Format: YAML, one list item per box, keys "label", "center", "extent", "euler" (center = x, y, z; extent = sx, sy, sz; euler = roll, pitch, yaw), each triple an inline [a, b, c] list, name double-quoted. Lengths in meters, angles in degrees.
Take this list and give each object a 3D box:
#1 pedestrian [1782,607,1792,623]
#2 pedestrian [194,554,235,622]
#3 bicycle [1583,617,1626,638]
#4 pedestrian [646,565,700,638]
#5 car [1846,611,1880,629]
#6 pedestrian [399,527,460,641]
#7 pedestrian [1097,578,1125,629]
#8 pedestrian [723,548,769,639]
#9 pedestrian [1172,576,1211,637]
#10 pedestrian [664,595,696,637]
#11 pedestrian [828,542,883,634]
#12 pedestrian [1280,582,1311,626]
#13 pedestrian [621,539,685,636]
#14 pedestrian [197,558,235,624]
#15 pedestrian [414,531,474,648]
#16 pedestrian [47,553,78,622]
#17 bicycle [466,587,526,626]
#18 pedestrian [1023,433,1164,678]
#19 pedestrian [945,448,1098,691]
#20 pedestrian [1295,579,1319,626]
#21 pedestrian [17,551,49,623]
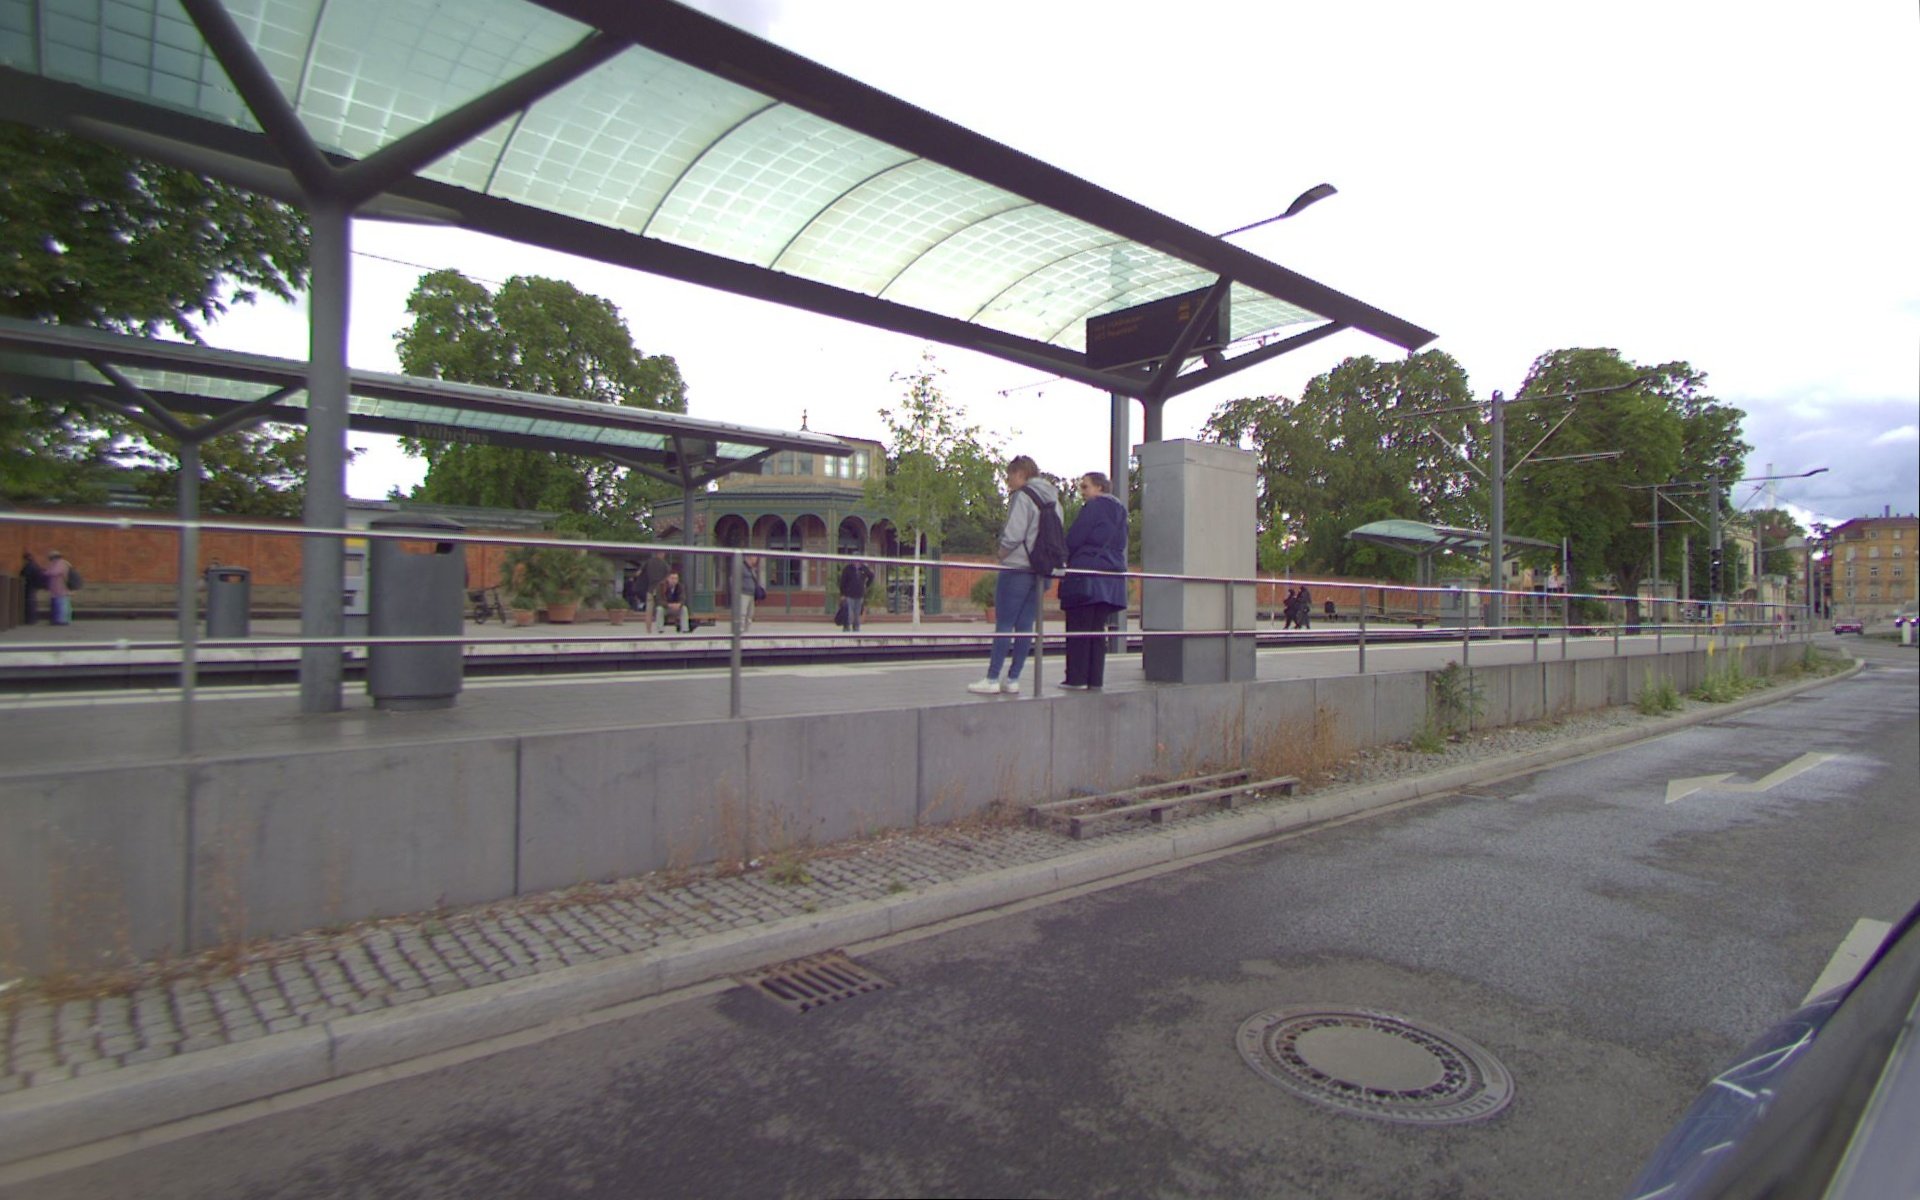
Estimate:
- label: "pedestrian"
  center: [92.206, 1.700, 112.816]
  extent: [0.920, 1.790, 0.671]
  euler: [1, -1, -42]
- label: "pedestrian"
  center: [-18.042, -0.285, 24.494]
  extent: [0.652, 1.604, 0.614]
  euler: [-3, -3, 35]
- label: "bicycle"
  center: [36.973, 1.558, 58.085]
  extent: [0.727, 1.172, 1.997]
  euler: [1, -1, -36]
- label: "pedestrian"
  center: [-4.888, 0.038, 17.234]
  extent: [0.663, 1.206, 0.658]
  euler: [1, -3, -40]
- label: "car"
  center: [75.539, 1.689, 84.665]
  extent: [4.049, 1.461, 1.678]
  euler: [1, -3, -42]
- label: "pedestrian"
  center: [-8.164, -0.222, 15.579]
  extent: [0.665, 1.699, 0.674]
  euler: [1, -3, -44]
- label: "pedestrian"
  center: [5.607, 0.148, 37.589]
  extent: [0.547, 1.862, 0.937]
  euler: [-3, -3, 42]
- label: "pedestrian"
  center: [-3.968, -0.116, 18.756]
  extent: [0.663, 1.641, 0.525]
  euler: [1, -3, -40]
- label: "pedestrian"
  center: [6.541, 0.190, 28.602]
  extent: [0.851, 1.709, 0.633]
  euler: [1, -3, -41]
- label: "pedestrian"
  center: [-5.124, 0.293, 18.534]
  extent: [0.416, 0.750, 0.563]
  euler: [0, -3, -32]
- label: "pedestrian"
  center: [-2.170, -0.231, 21.012]
  extent: [0.933, 1.862, 0.634]
  euler: [1, -3, -40]
- label: "pedestrian"
  center: [12.627, 0.145, 38.128]
  extent: [0.757, 1.621, 0.742]
  euler: [0, -3, -32]
- label: "pedestrian"
  center: [-5.578, -0.200, 18.396]
  extent: [0.858, 1.699, 0.751]
  euler: [-3, -3, 39]
- label: "pedestrian"
  center: [-18.491, -0.211, 25.154]
  extent: [0.582, 1.604, 0.615]
  euler: [-3, -3, 36]
- label: "pedestrian"
  center: [-7.690, -0.140, 15.085]
  extent: [0.664, 1.699, 0.544]
  euler: [1, -3, -44]
- label: "pedestrian"
  center: [-19.860, -0.264, 22.399]
  extent: [0.451, 1.506, 0.486]
  euler: [1, -3, -38]
- label: "bicycle"
  center: [-13.402, 0.202, 29.273]
  extent: [0.556, 1.075, 1.705]
  euler: [-2, -2, 18]
- label: "pedestrian"
  center: [0.998, -0.289, 7.611]
  extent: [0.718, 1.722, 0.772]
  euler: [3, -5, -39]
- label: "pedestrian"
  center: [0.429, -0.169, 7.064]
  extent: [0.760, 1.574, 0.751]
  euler: [3, -5, -39]
- label: "pedestrian"
  center: [12.791, 0.091, 37.307]
  extent: [0.616, 1.682, 0.487]
  euler: [0, -3, -32]
- label: "pedestrian"
  center: [-20.389, -0.282, 22.258]
  extent: [0.451, 1.555, 0.486]
  euler: [1, -3, -38]
